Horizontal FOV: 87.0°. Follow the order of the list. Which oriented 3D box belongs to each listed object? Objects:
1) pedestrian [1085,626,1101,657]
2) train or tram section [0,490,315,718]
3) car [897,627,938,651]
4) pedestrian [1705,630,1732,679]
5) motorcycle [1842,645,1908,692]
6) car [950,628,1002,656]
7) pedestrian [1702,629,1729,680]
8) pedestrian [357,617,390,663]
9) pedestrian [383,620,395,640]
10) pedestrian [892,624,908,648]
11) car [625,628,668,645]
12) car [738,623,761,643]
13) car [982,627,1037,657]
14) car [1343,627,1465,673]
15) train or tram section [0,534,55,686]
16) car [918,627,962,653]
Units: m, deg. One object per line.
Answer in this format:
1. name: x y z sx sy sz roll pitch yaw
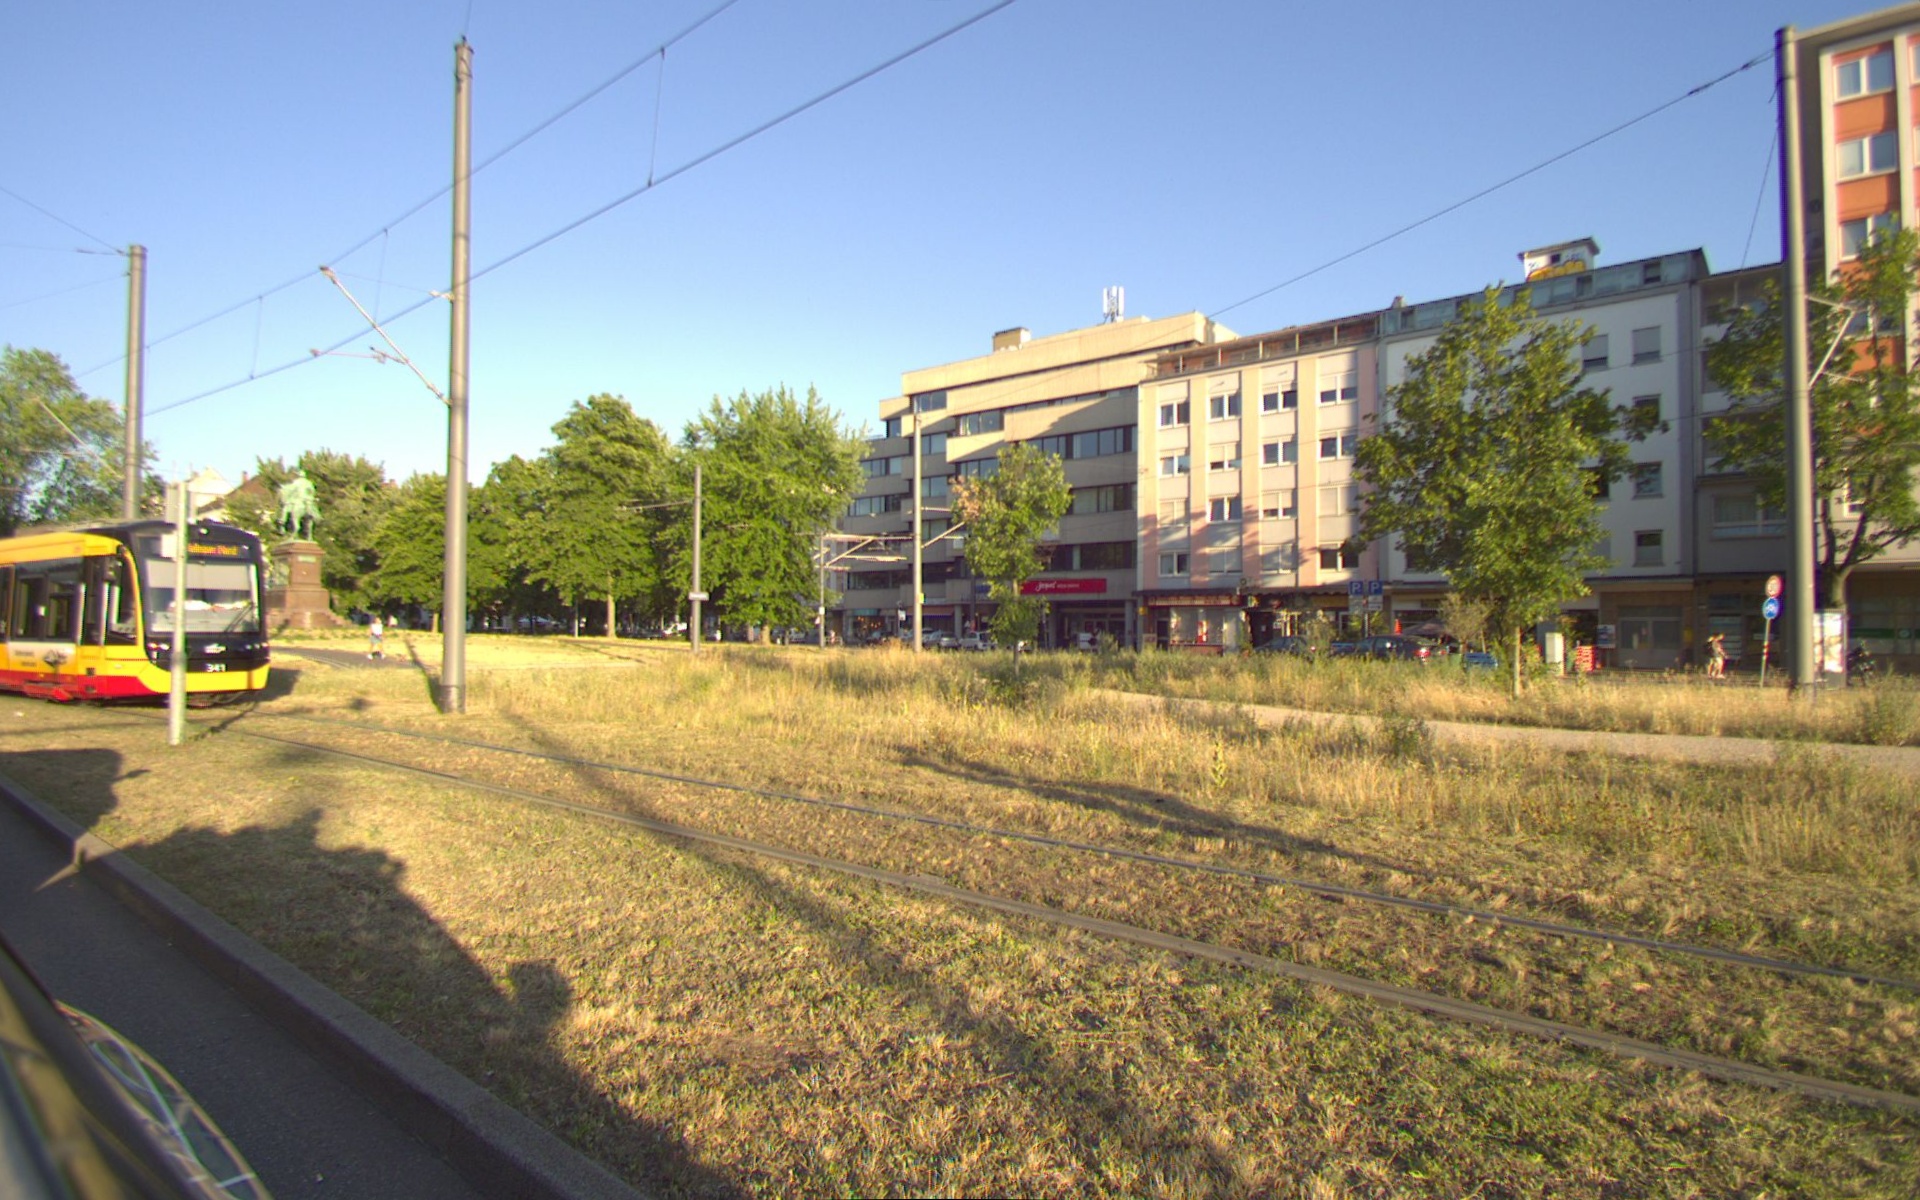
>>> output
1. pedestrian: 8.296 2.592 63.169 0.700 1.949 0.683 -2 -2 41
2. train or tram section: -18.655 0.192 21.449 13.170 3.767 2.887 -1 -2 31
3. car: -3.463 3.130 81.968 1.965 1.951 4.013 1 -2 -25
4. pedestrian: 27.660 1.984 36.906 0.698 1.764 0.642 -2 -2 41
5. motorcycle: 26.594 1.982 29.433 1.390 1.328 0.376 -2 -2 43
6. car: 1.104 2.940 71.500 1.965 1.893 4.013 1 -2 -27
7. pedestrian: 27.209 1.941 36.430 0.704 1.806 0.587 -2 -2 41
8. pedestrian: -22.714 1.545 39.197 0.797 1.741 0.880 -2 -2 41
9. pedestrian: -49.539 2.585 87.771 0.635 1.682 0.702 -1 -2 41
10. pedestrian: -5.204 3.153 88.133 0.892 2.051 1.123 -2 -2 43
11. car: -32.978 3.826 106.517 3.933 1.769 1.973 1 -2 -34
12. car: -23.565 3.665 113.193 1.966 2.029 4.012 -1 0 -18
13. car: 3.230 2.751 66.853 1.892 1.878 4.013 1 -2 -27
14. car: 17.261 1.898 39.523 1.965 1.697 4.012 1 -2 -28
15. train or tram section: -29.530 0.314 27.382 12.110 3.767 2.863 -1 -2 25
16. car: -1.538 3.009 77.062 1.965 1.893 4.013 1 -2 -23
